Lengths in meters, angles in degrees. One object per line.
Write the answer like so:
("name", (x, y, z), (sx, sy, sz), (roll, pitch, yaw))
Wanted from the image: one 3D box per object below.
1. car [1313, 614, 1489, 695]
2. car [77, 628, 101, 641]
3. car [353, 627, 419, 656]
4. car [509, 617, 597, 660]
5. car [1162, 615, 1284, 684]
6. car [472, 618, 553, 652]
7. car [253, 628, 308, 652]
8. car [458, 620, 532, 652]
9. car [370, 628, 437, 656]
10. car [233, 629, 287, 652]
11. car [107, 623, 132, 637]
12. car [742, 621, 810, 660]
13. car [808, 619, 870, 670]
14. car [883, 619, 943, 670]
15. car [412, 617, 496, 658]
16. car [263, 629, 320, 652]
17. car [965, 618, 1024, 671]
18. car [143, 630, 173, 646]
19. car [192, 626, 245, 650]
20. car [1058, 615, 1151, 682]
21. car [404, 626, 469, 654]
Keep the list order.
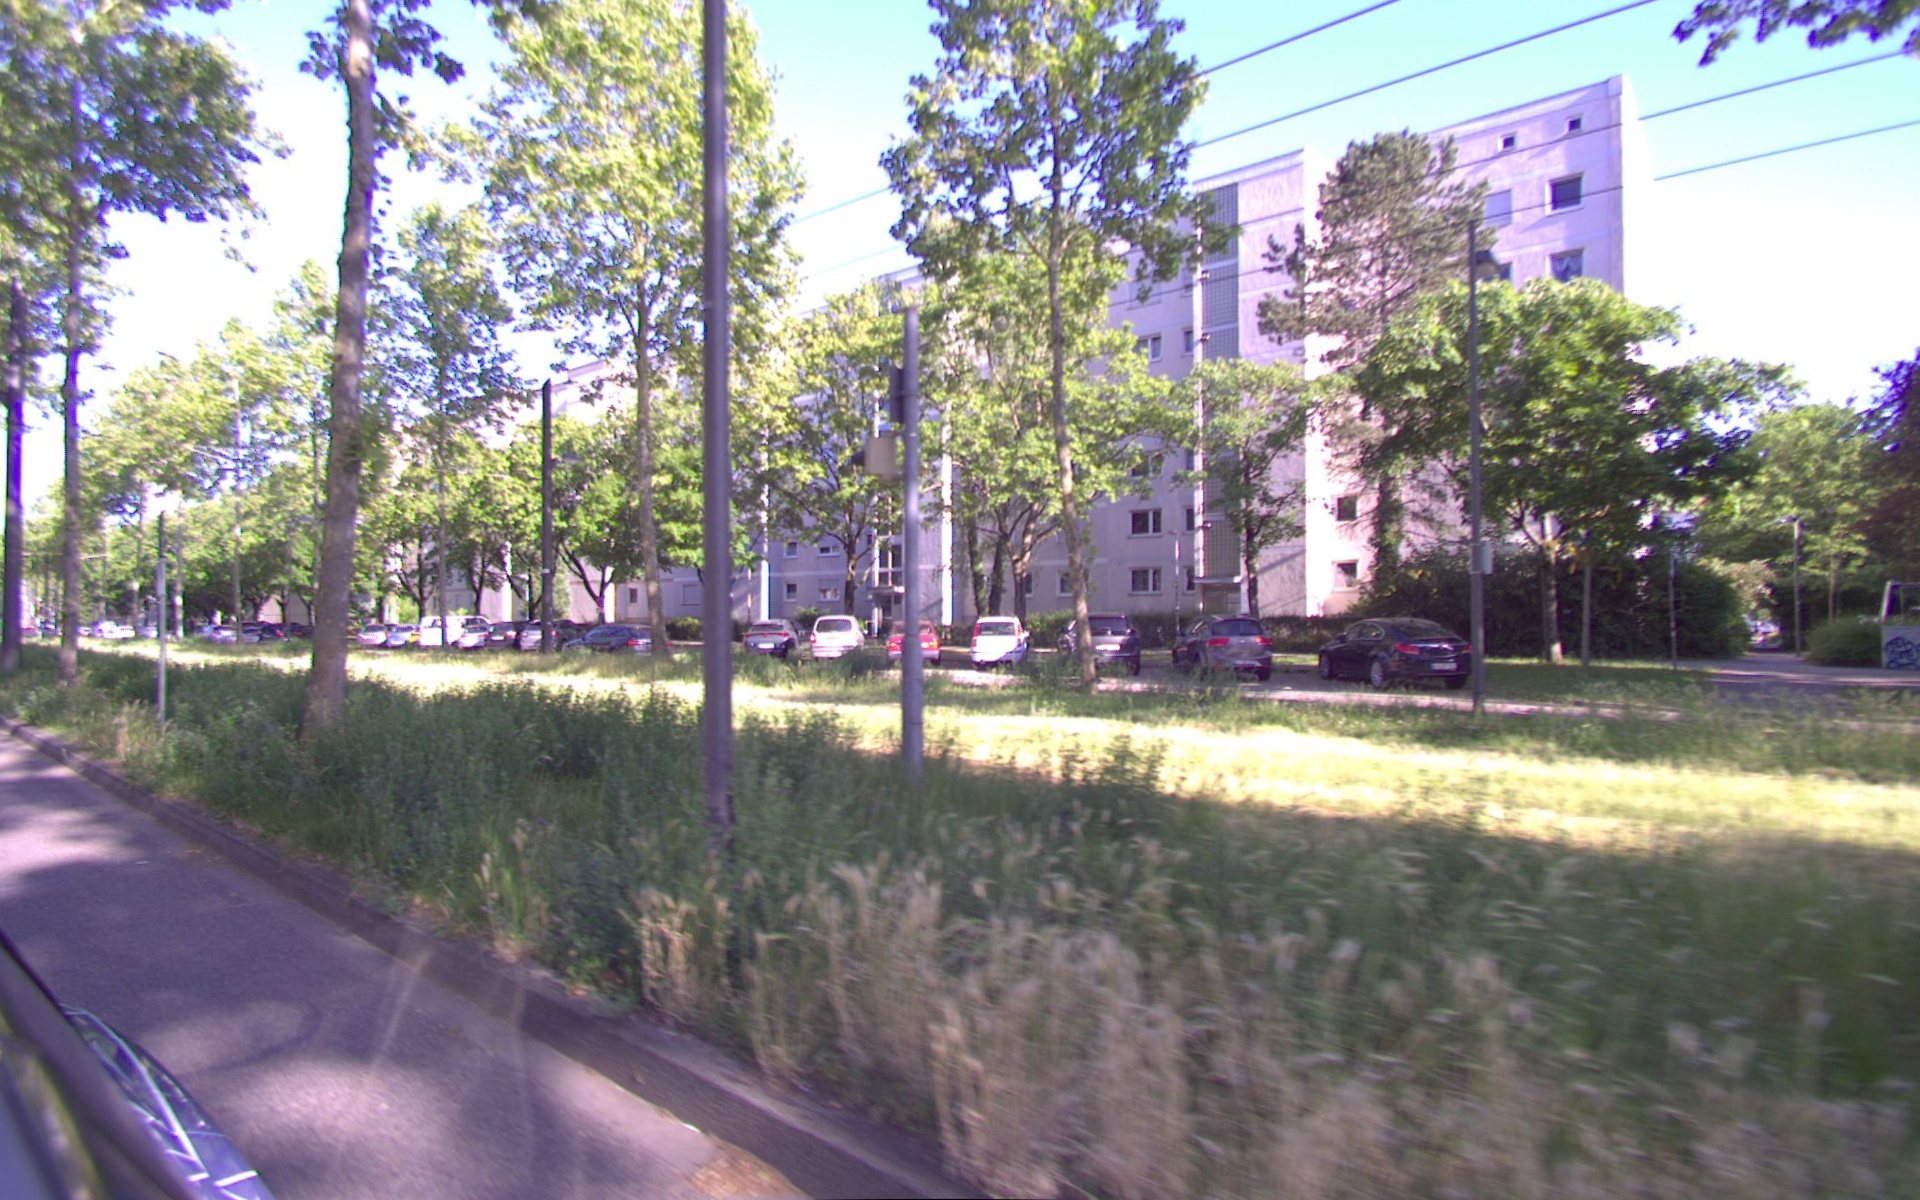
("car", (9.479, 1.127, 22.192), (1.769, 1.580, 4.488), (0, -1, -2))
("car", (-102.773, 4.075, 119.375), (4.017, 1.500, 1.577), (-2, -2, 41))
("car", (-34.400, 2.456, 60.771), (1.628, 1.658, 4.085), (-2, -1, -1))
("car", (-18.939, 1.784, 47.303), (1.972, 1.618, 4.078), (9, -1, 6))
("car", (6.474, 1.192, 25.473), (1.769, 1.580, 4.488), (0, -1, -2))
("car", (-21.786, 1.711, 49.482), (1.796, 1.542, 4.076), (-2, -2, 7))
("car", (-50.437, 2.940, 75.198), (1.626, 1.658, 4.089), (-3, -2, -5))
("car", (-24.050, 1.850, 52.488), (1.560, 1.443, 4.076), (-2, 0, 7))
("car", (-31.711, 2.362, 57.762), (1.628, 1.494, 4.085), (0, -1, -1))
("car", (-53.232, 3.042, 77.036), (1.625, 1.658, 4.091), (1, -2, -7))
("car", (-90.281, 3.222, 108.700), (3.934, 1.557, 1.695), (-2, -3, 44))
("car", (-6.653, 1.442, 36.970), (1.770, 1.348, 4.132), (0, -1, -1))
("car", (-4.122, 1.497, 34.959), (1.761, 1.688, 3.980), (0, -1, -2))
("car", (-1.442, 1.359, 31.798), (1.769, 1.499, 3.922), (0, -1, -2))
("car", (-26.681, 1.944, 53.559), (1.867, 2.022, 4.794), (-2, -1, 3))
("car", (-47.567, 2.854, 72.060), (1.626, 1.487, 4.090), (-4, -1, -6))
("car", (1.117, 1.317, 31.066), (1.597, 1.493, 4.480), (0, -1, 5))
("car", (-80.338, 3.756, 101.321), (4.200, 1.557, 1.695), (-2, -2, 43))
("car", (-49.191, 2.526, 67.103), (4.082, 1.518, 1.904), (-2, -4, 40))
("car", (3.861, 1.267, 27.784), (1.769, 1.688, 4.488), (0, -1, -2))
("car", (-29.389, 2.226, 56.981), (1.557, 1.443, 4.085), (1, -2, -1))
